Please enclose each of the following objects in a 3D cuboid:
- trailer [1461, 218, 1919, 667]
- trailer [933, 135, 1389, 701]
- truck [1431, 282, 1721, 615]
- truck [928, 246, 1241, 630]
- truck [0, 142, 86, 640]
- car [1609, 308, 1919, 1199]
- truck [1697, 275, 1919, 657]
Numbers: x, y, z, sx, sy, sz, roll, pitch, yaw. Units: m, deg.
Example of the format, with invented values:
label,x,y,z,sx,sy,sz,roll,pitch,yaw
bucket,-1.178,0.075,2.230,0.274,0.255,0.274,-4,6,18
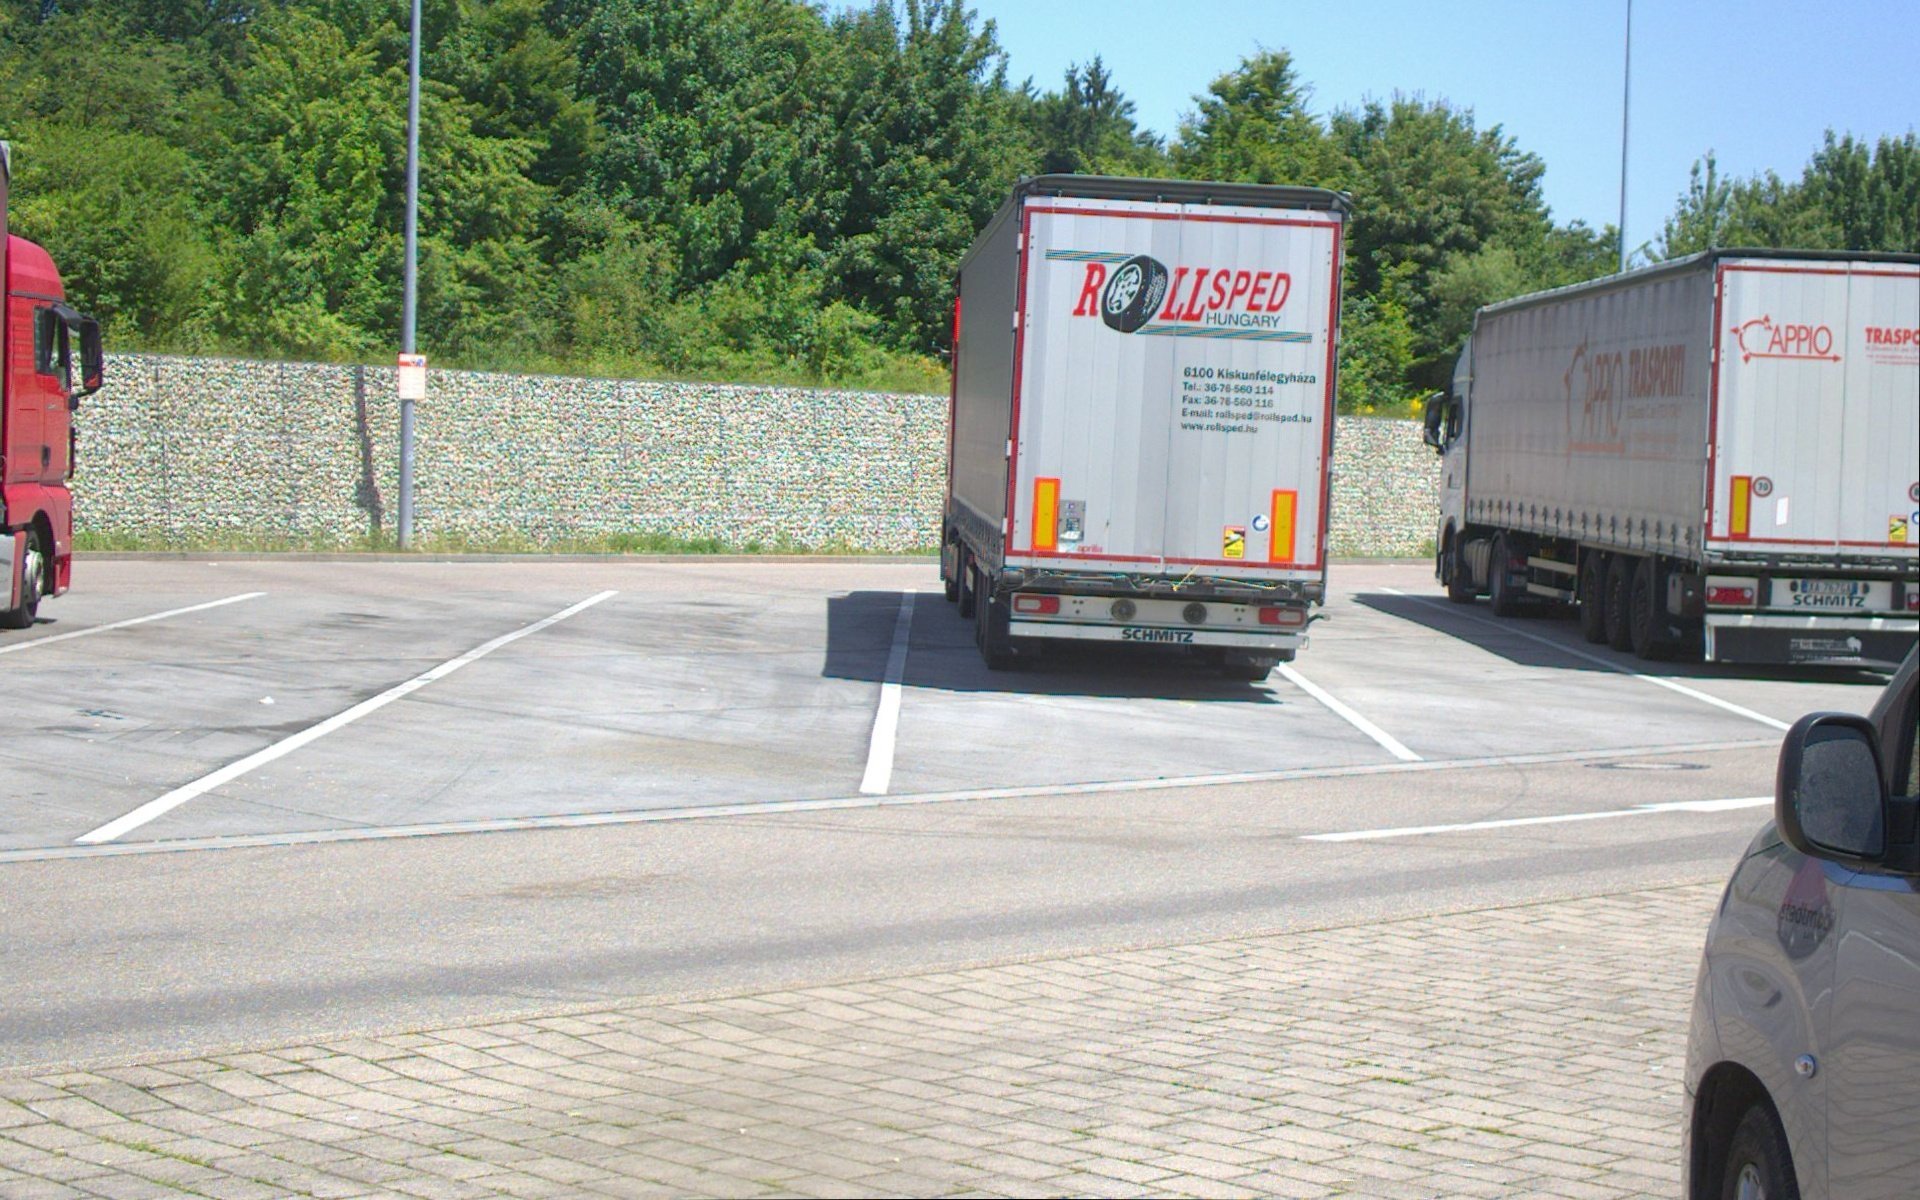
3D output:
label,x,y,z,sx,sy,sz,roll,pitch,yaw
trailer,8.147,-1.676,38.466,2.876,4.110,13.572,1,2,-1
trailer,1.483,-1.703,32.633,3.069,4.213,12.810,2,3,-2
truck,8.032,-1.972,45.465,2.757,4.110,5.285,1,2,-1
truck,1.268,-1.862,39.401,3.026,3.915,6.847,2,3,-2
truck,-9.227,-1.706,27.652,2.743,4.067,6.830,1,2,-1
car,2.139,0.538,3.790,1.825,1.747,4.001,1,2,-4
truck,11.735,-1.483,39.801,2.904,4.110,14.528,3,2,-1
